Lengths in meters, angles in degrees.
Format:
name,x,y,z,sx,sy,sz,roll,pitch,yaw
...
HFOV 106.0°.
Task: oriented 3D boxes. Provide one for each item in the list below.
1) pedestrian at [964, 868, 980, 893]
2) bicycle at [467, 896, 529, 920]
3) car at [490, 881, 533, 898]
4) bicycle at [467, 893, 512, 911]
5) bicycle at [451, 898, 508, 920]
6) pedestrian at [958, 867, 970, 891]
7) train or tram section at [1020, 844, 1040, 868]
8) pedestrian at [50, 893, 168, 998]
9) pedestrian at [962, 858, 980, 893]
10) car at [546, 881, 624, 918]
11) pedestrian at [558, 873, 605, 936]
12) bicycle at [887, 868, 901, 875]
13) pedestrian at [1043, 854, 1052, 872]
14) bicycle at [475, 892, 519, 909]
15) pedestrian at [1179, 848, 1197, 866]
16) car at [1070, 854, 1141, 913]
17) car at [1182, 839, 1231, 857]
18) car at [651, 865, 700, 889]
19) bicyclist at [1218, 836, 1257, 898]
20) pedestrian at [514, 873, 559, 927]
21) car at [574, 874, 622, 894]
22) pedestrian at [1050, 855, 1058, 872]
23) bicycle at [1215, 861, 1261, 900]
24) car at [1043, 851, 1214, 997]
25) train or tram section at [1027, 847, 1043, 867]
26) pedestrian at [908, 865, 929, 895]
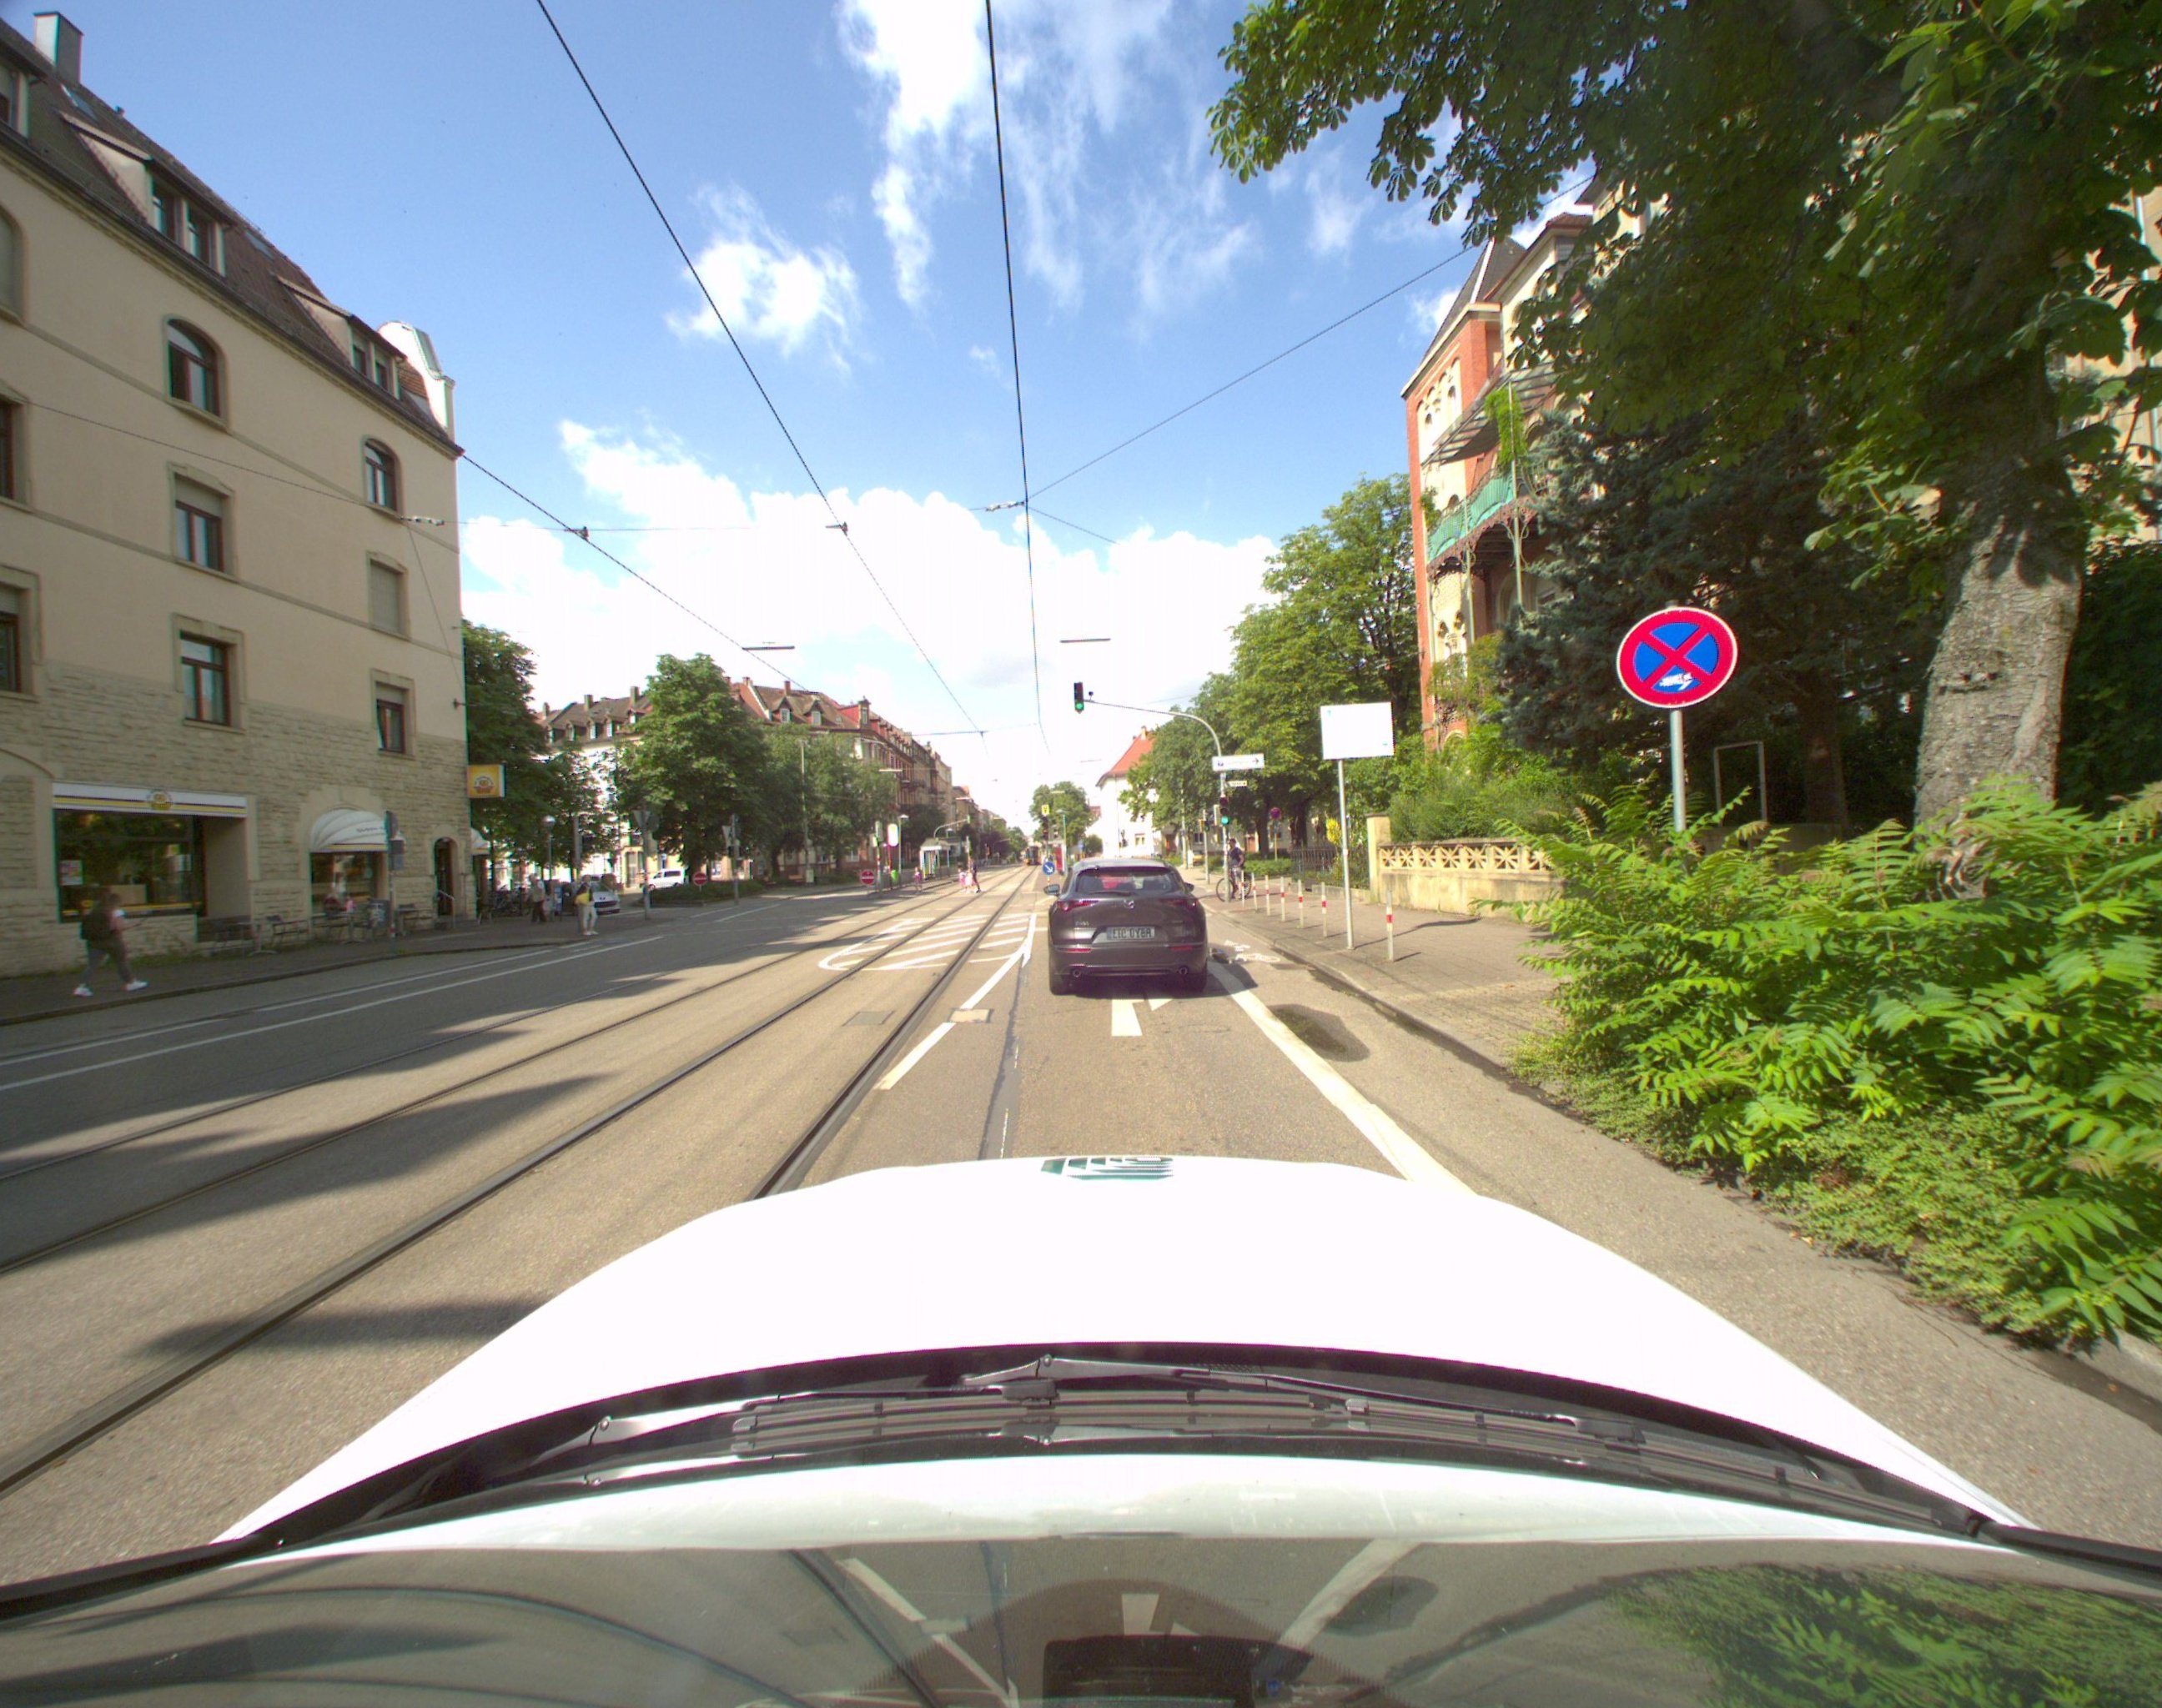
name,x,y,z,sx,sy,sz,roll,pitch,yaw
pedestrian,-4.961,1.200,37.102,0.640,1.114,0.442,-3,0,-7
bicycle,-24.659,2.280,34.466,0.516,0.882,2.043,-3,-2,44
car,-57.461,3.545,82.109,3.606,1.494,1.638,-3,0,18
bicycle,-34.158,2.776,47.075,2.037,0.898,0.566,-1,-1,-30
bicycle,-27.434,2.484,37.183,0.505,0.882,2.043,-3,-2,44
pedestrian,-5.492,1.175,38.303,0.437,1.108,0.422,-5,0,-7
train or tram section,-9.170,0.453,149.088,2.989,3.983,13.798,-3,-1,-2
pedestrian,-15.314,1.411,12.862,0.693,1.541,0.960,1,-1,-10
pedestrian,-5.075,0.973,37.676,0.727,1.565,0.797,-3,0,-7
car,-21.514,1.947,35.283,3.823,1.420,1.732,-3,0,41
pedestrian,-14.142,1.417,23.083,0.754,1.704,0.873,1,-1,-3
bicycle,-20.842,1.968,90.704,0.381,0.747,1.722,-3,0,33
pedestrian,-3.195,0.830,78.037,0.769,1.674,0.667,-3,0,-3
bicycle,-34.364,2.752,47.959,2.037,0.898,0.566,-1,-1,-30
pedestrian,8.294,0.247,63.162,1.191,1.269,0.556,-5,0,-8
car,0.657,0.744,22.624,1.769,1.464,3.843,-1,0,1
car,11.740,-0.554,76.411,4.118,1.509,1.864,-3,1,40
car,-37.720,2.149,75.801,3.901,1.988,1.866,-3,0,21
bicyclist,4.687,0.393,24.490,0.736,1.819,0.814,-3,0,-25
pedestrian,-17.699,1.485,26.493,0.852,1.672,0.821,-3,0,-2
car,-46.944,2.939,79.214,3.895,1.663,1.926,-3,0,20
pedestrian,-2.522,0.915,75.840,0.666,1.546,0.580,-3,0,-3
bicycle,4.756,0.789,24.575,0.385,1.035,1.857,-3,0,42
car,0.515,0.745,10.517,1.776,1.514,4.000,-1,0,0
train or tram section,-9.877,0.794,176.638,2.989,3.983,13.798,-3,-1,-2
pedestrian,-7.593,1.224,38.044,0.825,1.303,0.715,-5,0,-7
